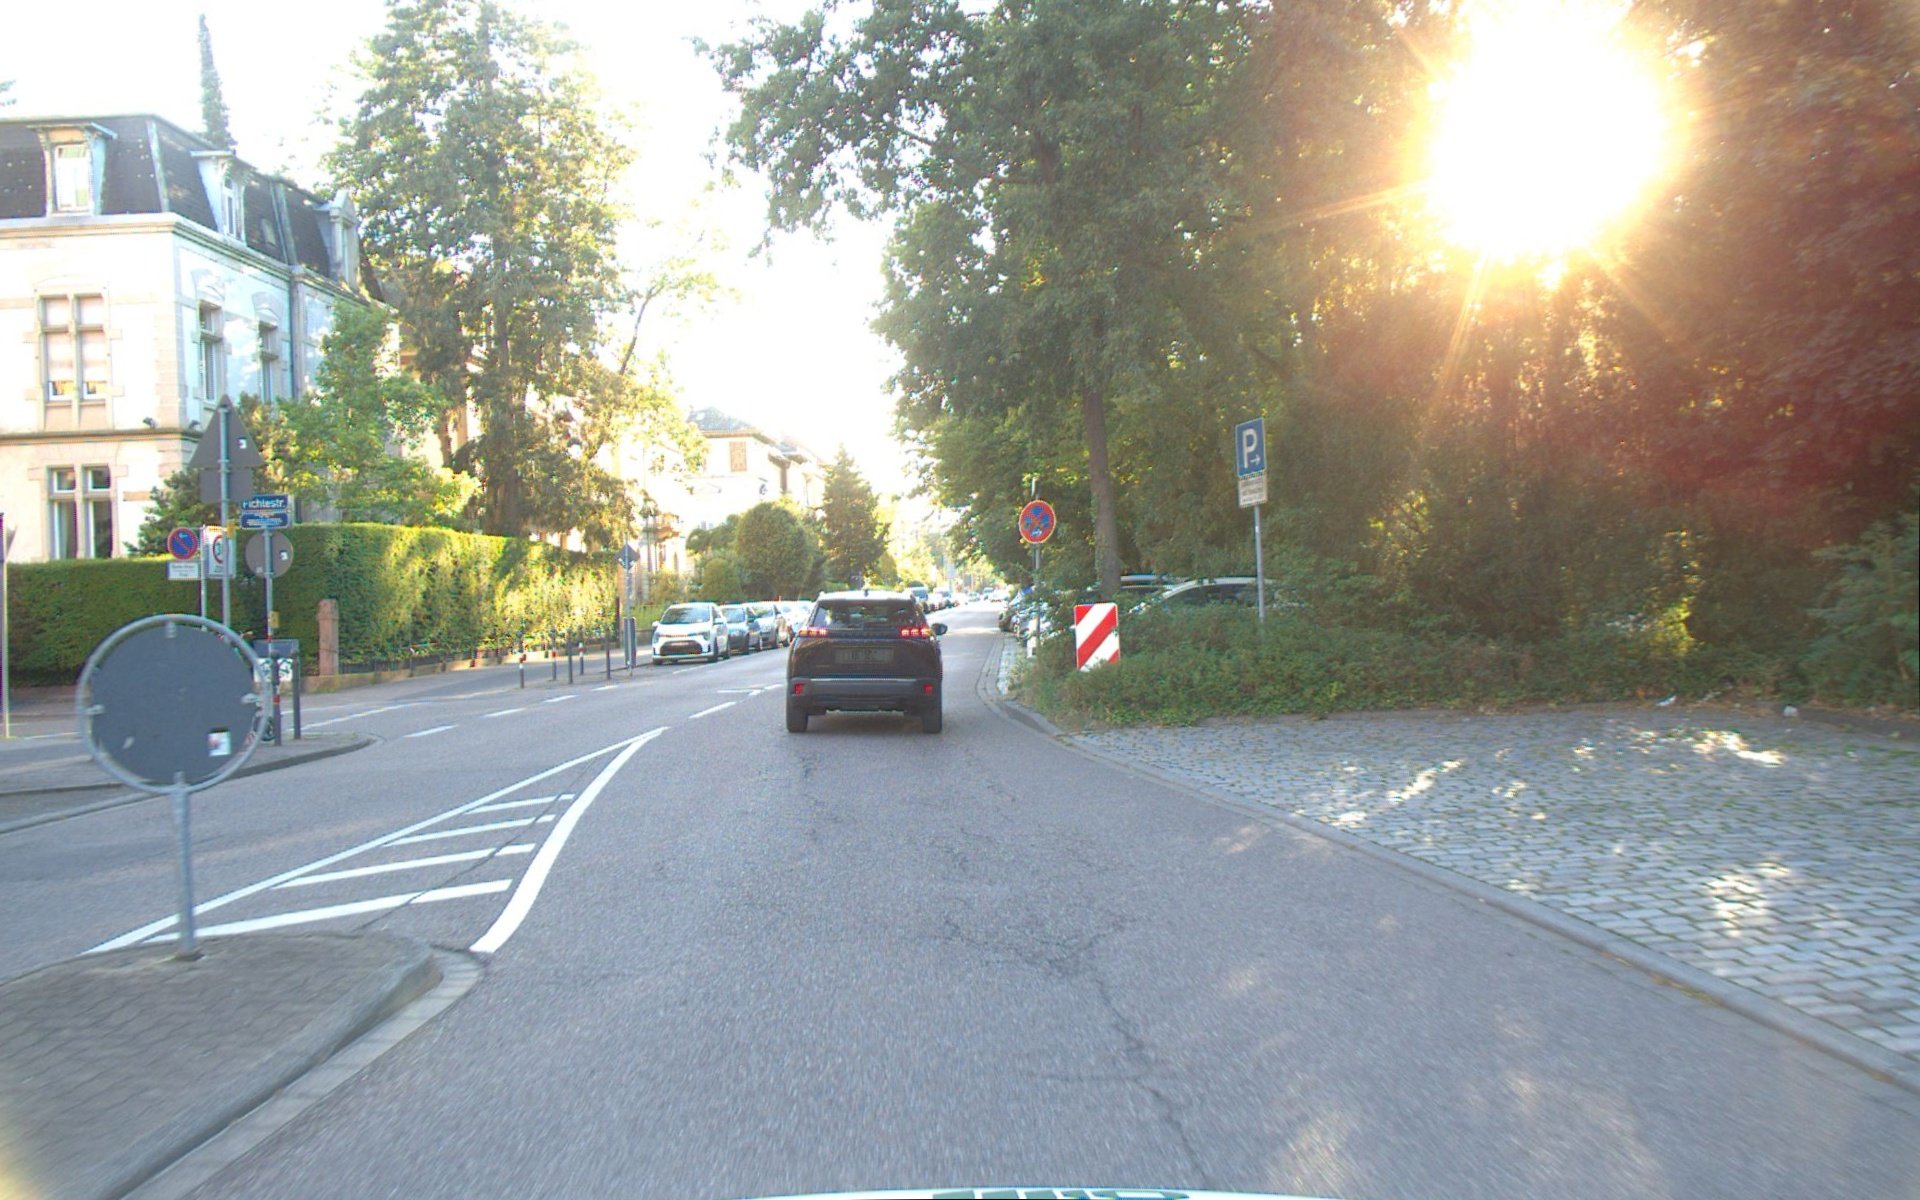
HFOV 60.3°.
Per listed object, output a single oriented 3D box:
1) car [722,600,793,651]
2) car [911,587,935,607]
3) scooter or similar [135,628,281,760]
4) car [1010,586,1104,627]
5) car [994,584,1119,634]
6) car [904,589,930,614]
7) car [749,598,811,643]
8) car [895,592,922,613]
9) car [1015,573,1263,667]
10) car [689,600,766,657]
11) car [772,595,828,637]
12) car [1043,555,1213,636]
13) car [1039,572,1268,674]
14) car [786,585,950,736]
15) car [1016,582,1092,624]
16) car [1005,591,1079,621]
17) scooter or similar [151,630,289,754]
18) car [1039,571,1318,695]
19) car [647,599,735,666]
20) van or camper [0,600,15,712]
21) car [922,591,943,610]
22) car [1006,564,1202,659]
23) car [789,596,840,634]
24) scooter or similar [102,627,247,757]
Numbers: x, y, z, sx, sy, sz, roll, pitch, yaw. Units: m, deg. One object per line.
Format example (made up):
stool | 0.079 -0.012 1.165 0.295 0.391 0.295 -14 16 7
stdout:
car | -6.452 0.776 53.002 1.580 1.492 4.037 -3 0 2
car | -3.412 -0.287 153.076 1.952 1.799 4.001 -2 0 1
scooter or similar | -7.876 0.963 17.357 0.423 1.297 1.339 -2 0 37
car | 4.092 0.281 70.020 3.732 1.474 1.825 -4 0 -3
car | 3.342 0.318 57.783 4.157 1.474 2.021 -4 0 -1
car | -3.660 0.083 141.202 1.952 2.049 4.001 -2 0 3
car | -6.357 0.706 58.777 1.580 1.492 4.037 -3 0 2
car | -4.058 0.199 130.733 1.860 1.601 4.001 -2 0 1
car | 3.444 0.351 32.057 4.405 1.581 1.852 -2 1 -11
car | -6.759 0.801 48.320 1.580 1.511 3.742 -3 0 1
car | -6.172 0.593 64.232 1.580 1.492 4.037 -3 0 2
car | 4.004 -0.097 39.986 3.905 1.582 1.725 -3 -7 1
car | 3.413 0.393 29.728 3.905 1.581 1.753 -3 1 1
car | -1.136 0.633 19.711 1.737 1.596 4.105 1 0 -5
car | 5.072 0.153 89.530 3.908 2.125 1.757 -2 0 -3
car | 4.554 0.320 92.357 3.908 1.552 1.757 -2 0 -3
scooter or similar | -8.235 1.003 18.422 1.328 1.297 0.427 -2 0 -34
car | 3.181 0.463 24.632 3.905 1.581 1.726 -3 1 1
car | -6.873 0.804 42.603 1.581 1.541 3.712 -4 0 0
van or camper | -19.968 1.171 29.763 4.668 2.019 2.002 -2 4 4
car | -2.762 0.062 168.850 1.952 1.847 4.001 -2 0 1
car | 3.209 0.258 37.644 4.219 1.835 2.036 -3 0 1
car | -6.019 0.609 68.969 1.580 1.492 4.037 -3 0 2
scooter or similar | -8.415 0.968 17.739 1.328 1.297 0.427 -2 0 -34
